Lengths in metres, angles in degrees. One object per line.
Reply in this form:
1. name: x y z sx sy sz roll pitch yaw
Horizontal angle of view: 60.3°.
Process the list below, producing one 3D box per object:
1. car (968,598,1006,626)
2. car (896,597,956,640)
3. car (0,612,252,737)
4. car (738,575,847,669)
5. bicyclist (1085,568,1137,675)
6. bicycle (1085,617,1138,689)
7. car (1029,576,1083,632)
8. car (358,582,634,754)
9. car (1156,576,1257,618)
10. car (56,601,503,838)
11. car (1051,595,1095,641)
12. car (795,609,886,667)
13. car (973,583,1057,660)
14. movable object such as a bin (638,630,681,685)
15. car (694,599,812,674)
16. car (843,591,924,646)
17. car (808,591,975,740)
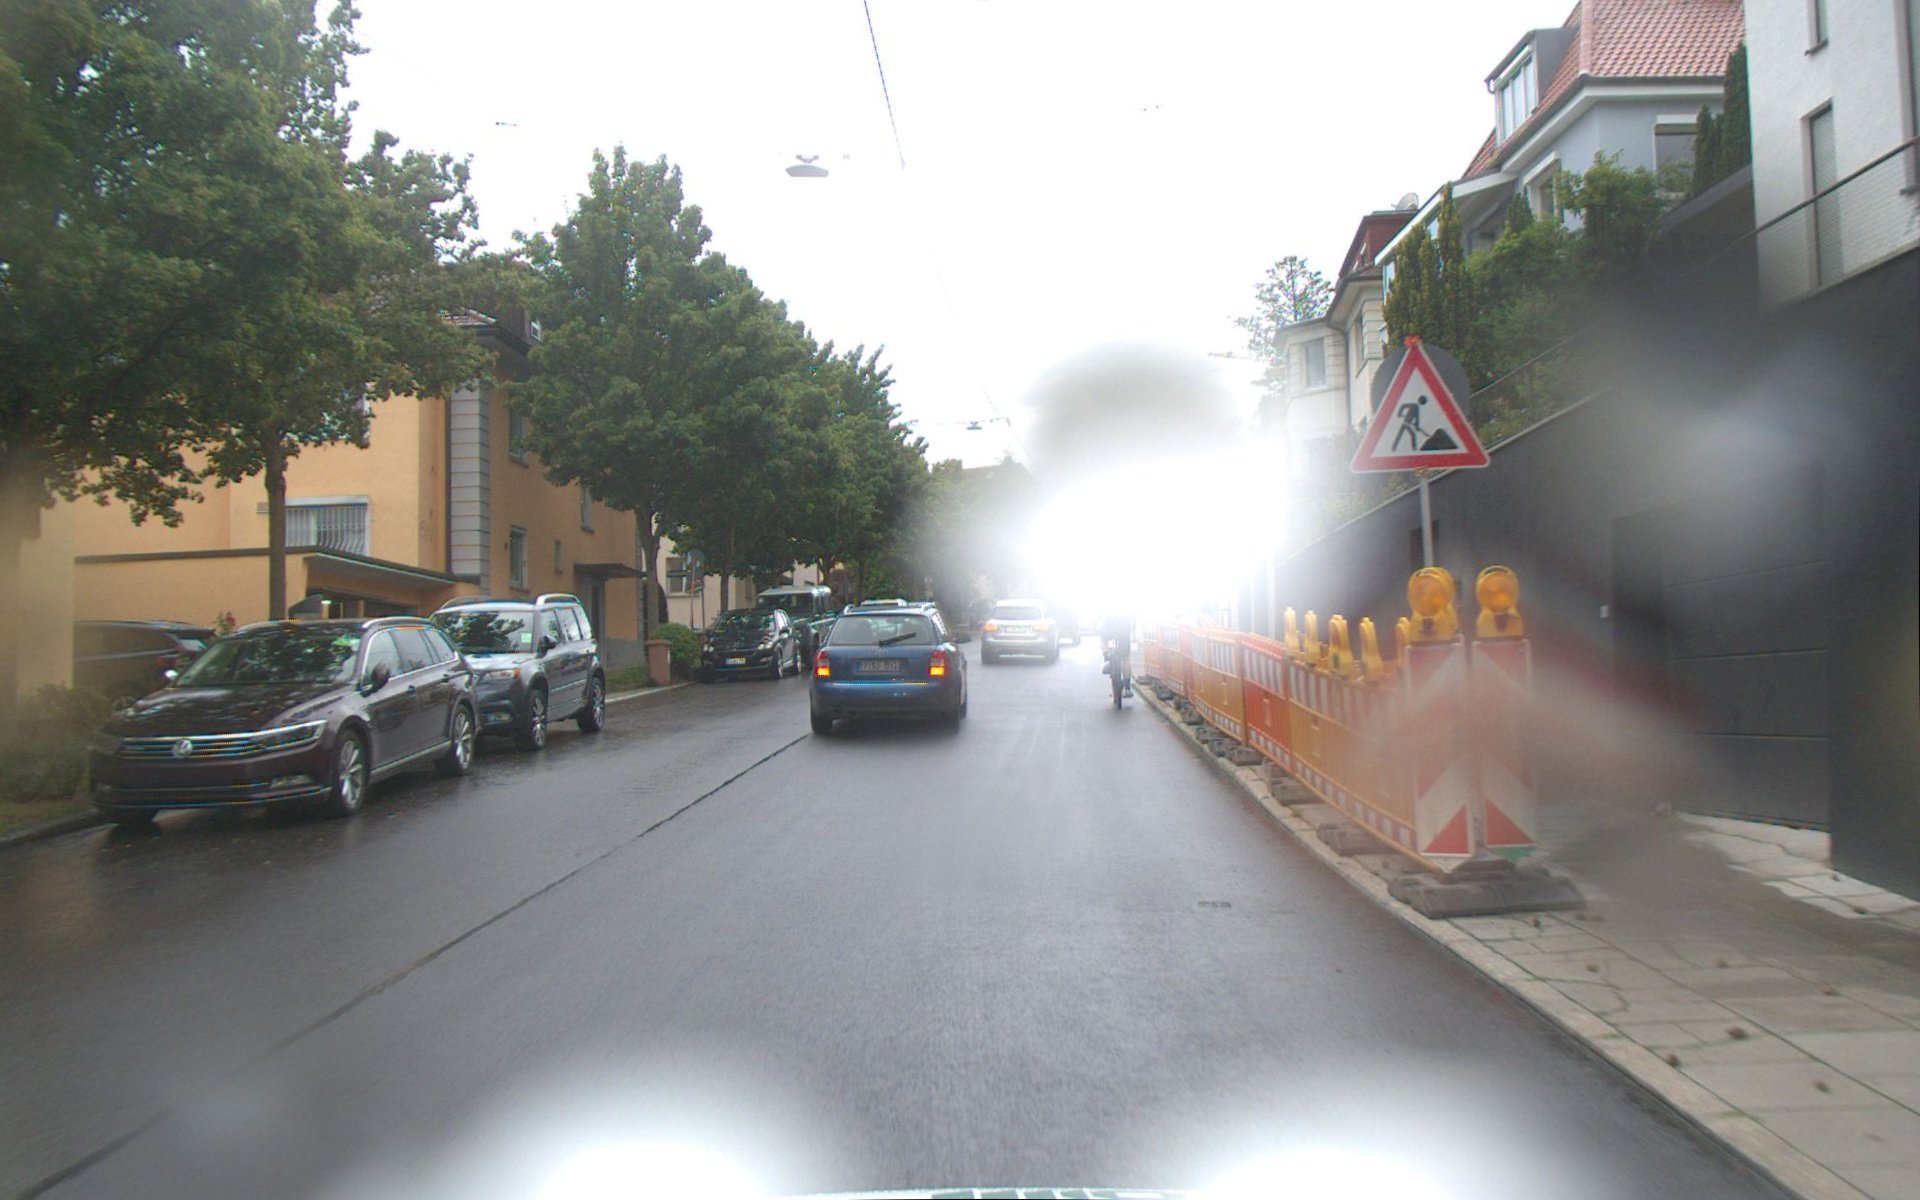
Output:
1. car: 1.396 0.601 84.206 1.443 1.318 3.224 1 2 9
2. car: -1.300 0.712 64.870 1.730 1.566 4.010 -2 -1 7
3. car: -12.574 1.051 23.763 3.968 1.675 1.864 -1 -1 3
4. car: -4.097 0.483 41.199 1.754 2.085 4.784 -4 0 4
5. bicyclist: 2.163 0.300 23.748 0.710 1.498 0.886 0 0 4
6. bicycle: 2.166 0.748 23.784 0.714 0.981 1.671 0 0 4
7. car: 3.372 0.103 57.561 1.697 1.799 4.238 1 2 5
8. car: -5.242 0.696 19.277 1.731 1.662 4.111 -4 0 3
9. car: 9.918 -0.130 66.491 3.902 1.492 1.741 -3 1 11
10. car: -5.368 0.831 13.800 1.732 1.562 4.605 -3 0 0
11. car: 4.934 0.744 72.131 1.697 1.799 4.239 1 2 6
12. car: -3.393 1.049 47.754 1.731 1.411 4.637 -2 1 6
13. car: 1.378 0.472 40.551 1.934 1.663 4.237 1 2 3
14. movable object such as a bin: -6.092 1.166 33.530 0.669 1.028 0.708 -5 0 -2
15. car: -4.427 0.745 35.941 1.731 1.461 4.349 -2 0 3
16. car: -2.455 0.597 54.313 1.730 1.655 4.693 -2 -1 8
17. car: -0.726 0.700 19.927 1.697 1.492 4.002 1 2 2
